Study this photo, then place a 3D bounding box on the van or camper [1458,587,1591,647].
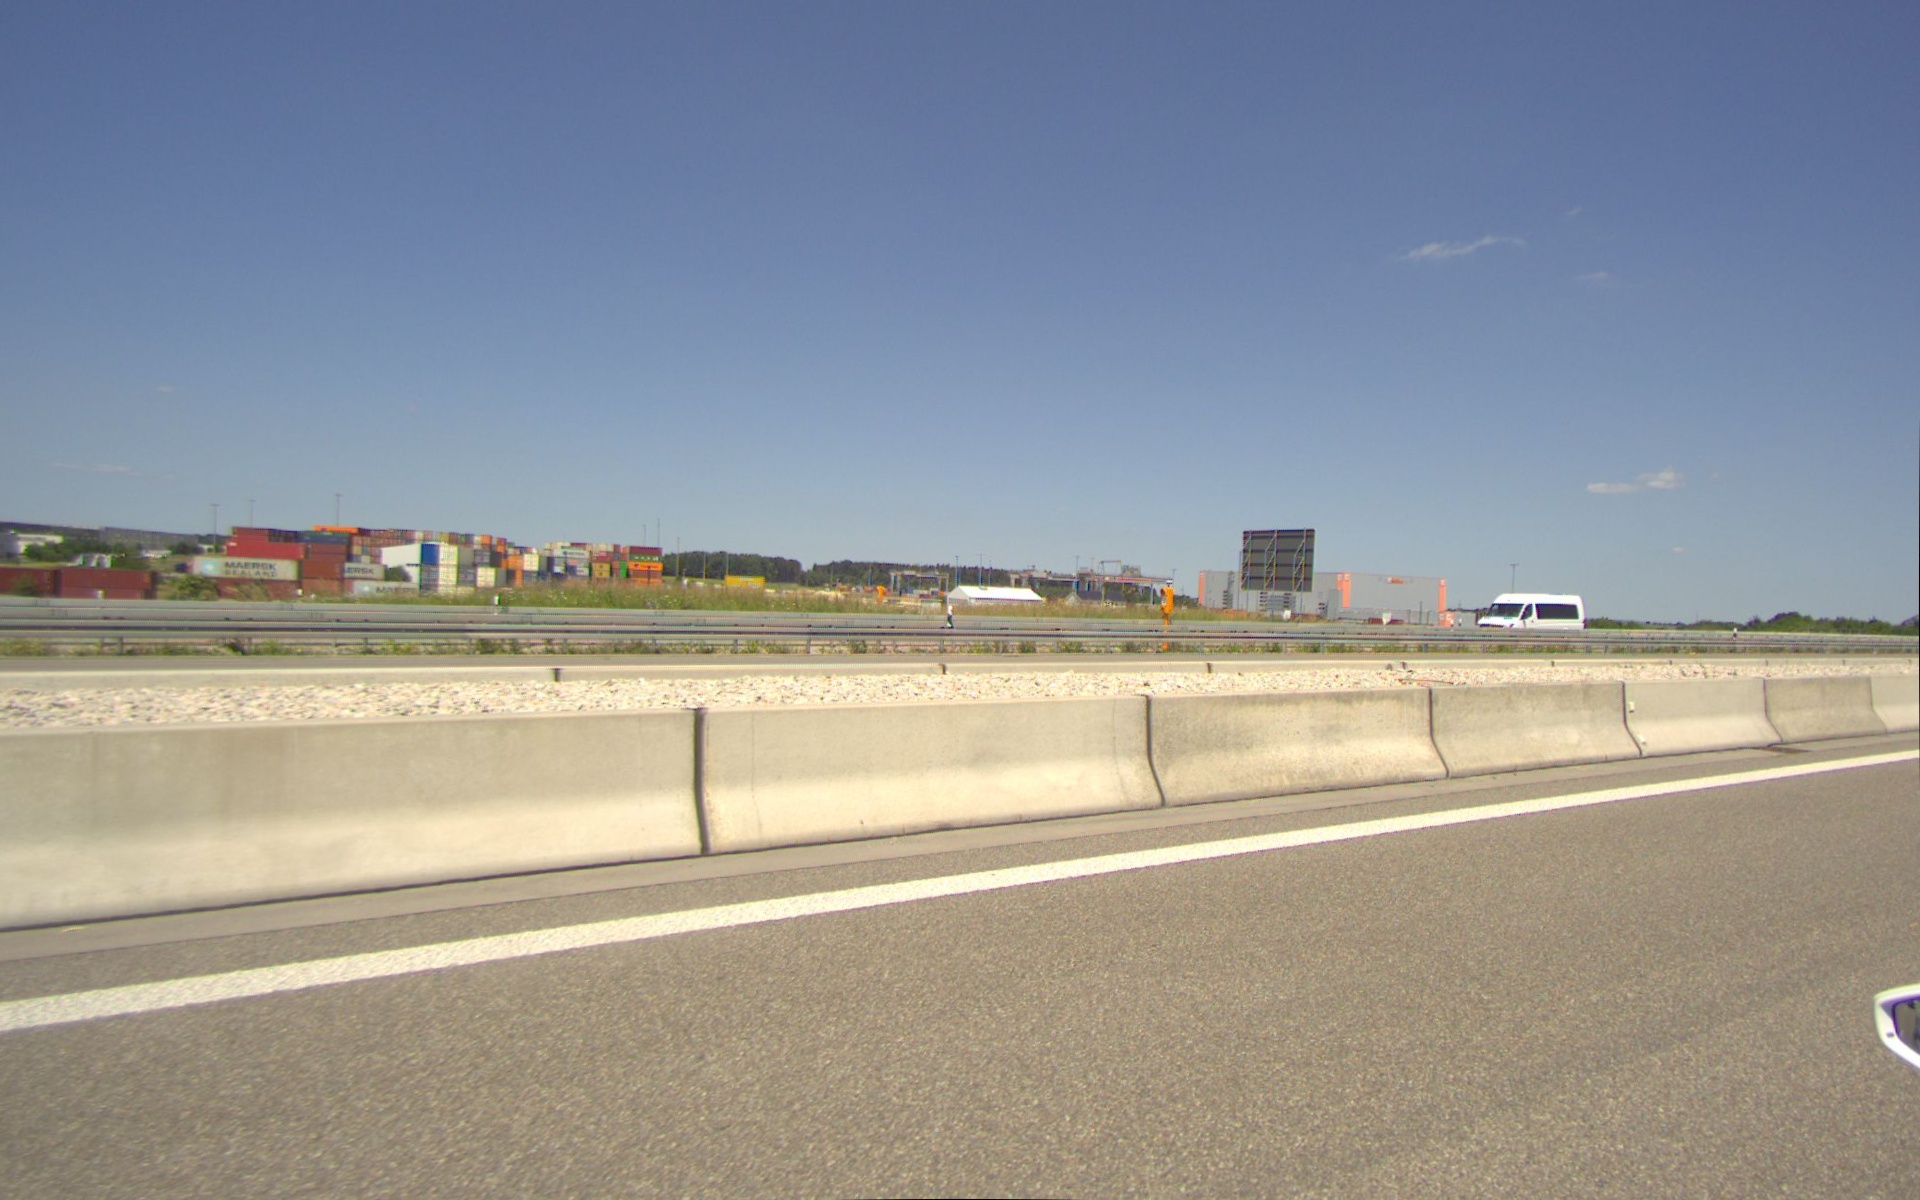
[{"bbox_3d":[29.246,0.908,51.936,7.454,2.859,2.534,2,0,-30],"label":"van or camper"}]
